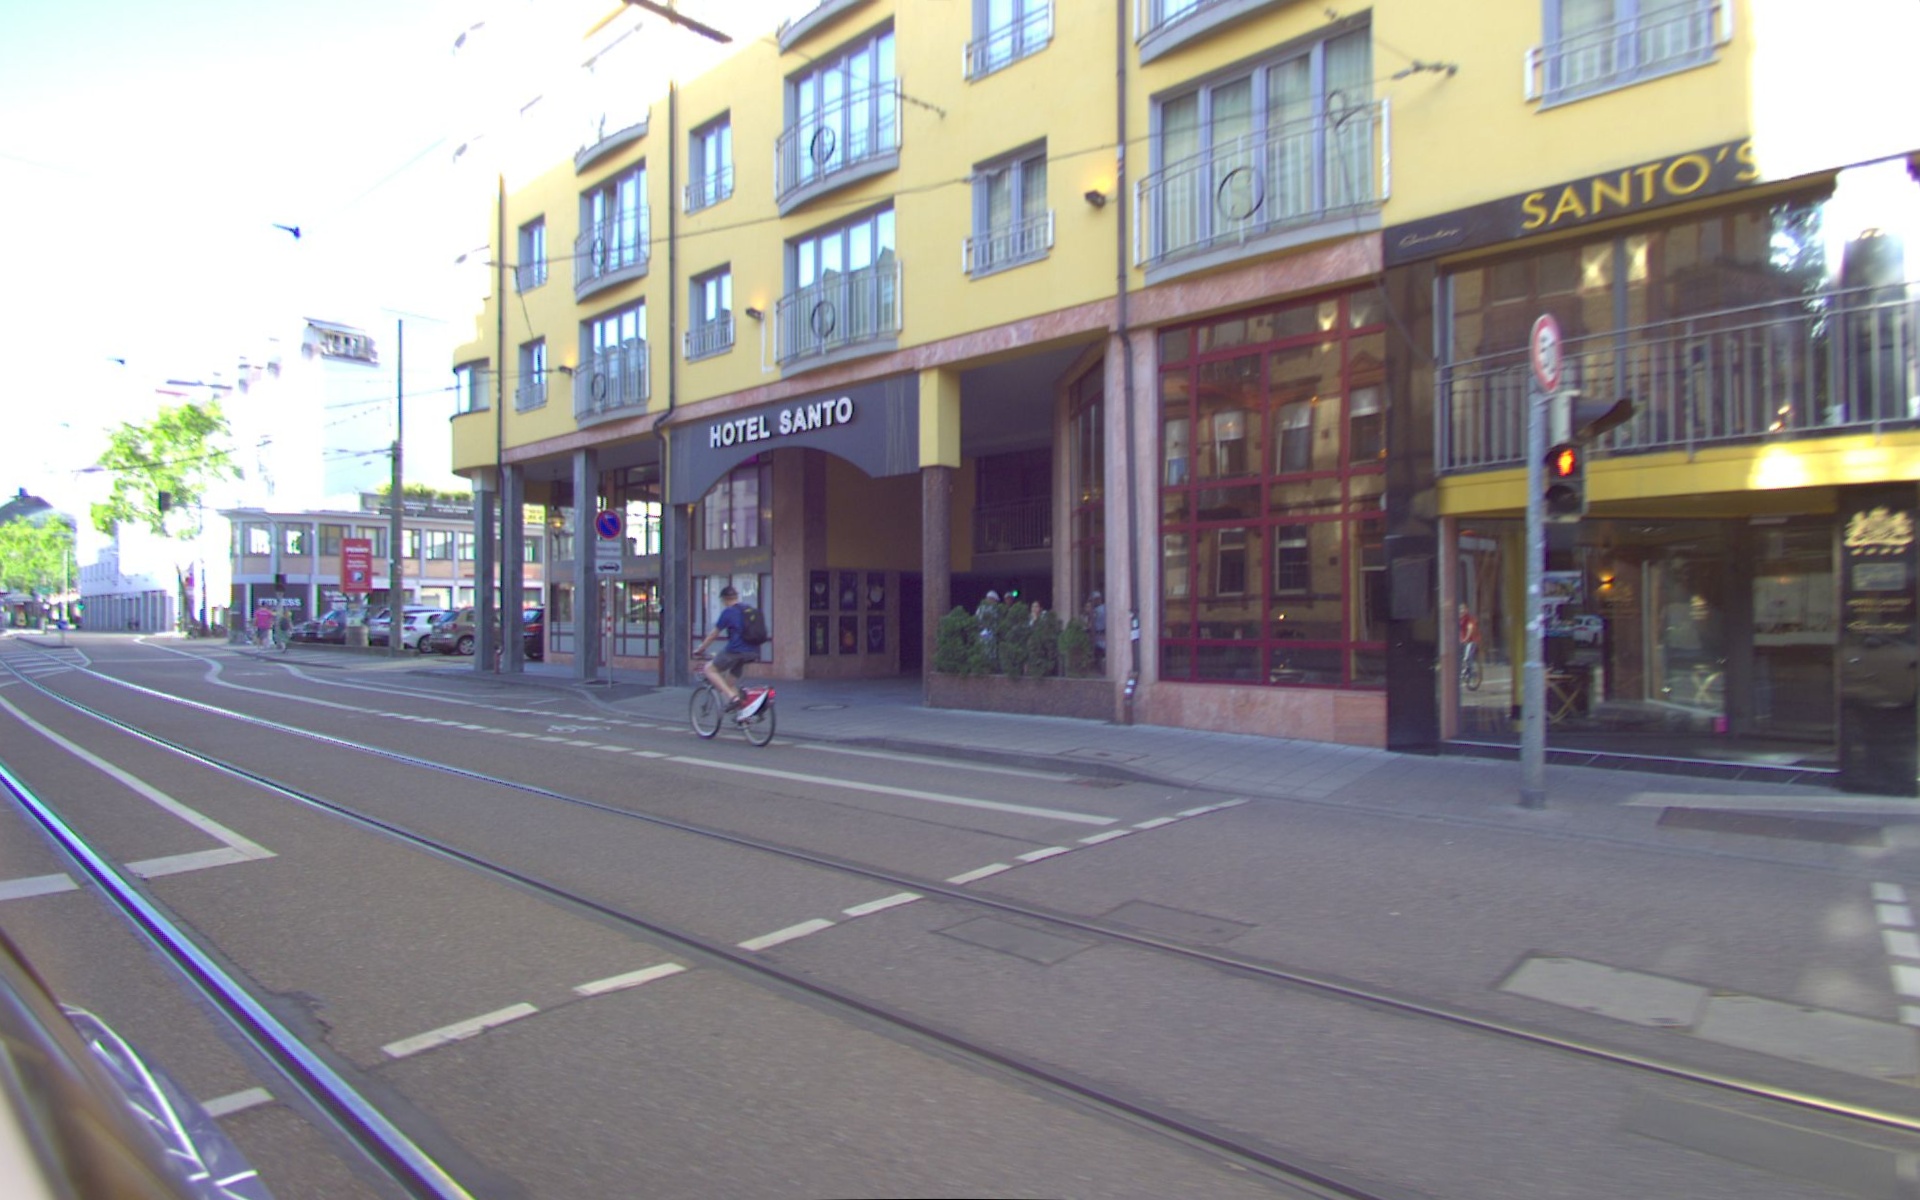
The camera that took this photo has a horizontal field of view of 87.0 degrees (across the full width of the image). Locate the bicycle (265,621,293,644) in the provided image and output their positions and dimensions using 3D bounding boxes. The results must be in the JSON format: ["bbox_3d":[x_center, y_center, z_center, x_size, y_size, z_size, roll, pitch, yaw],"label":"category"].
[{"bbox_3d":[-33.444,1.583,49.701,1.874,1.088,0.459,-1,-2,34],"label":"bicycle"}]

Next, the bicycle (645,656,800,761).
[{"bbox_3d":[-2.865,1.252,12.107,2.060,1.096,0.723,-1,-2,40],"label":"bicycle"}]

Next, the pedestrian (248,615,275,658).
[{"bbox_3d":[-29.268,1.535,42.406,0.778,1.777,0.707,-1,-2,34],"label":"pedestrian"}]

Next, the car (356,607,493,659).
[{"bbox_3d":[-20.123,1.224,38.151,1.784,1.825,4.189,1,0,41],"label":"car"}]

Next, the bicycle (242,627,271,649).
[{"bbox_3d":[-34.337,1.867,49.396,1.874,1.044,0.519,-1,-2,34],"label":"bicycle"}]

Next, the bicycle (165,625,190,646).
[{"bbox_3d":[-56.271,2.533,72.803,0.556,1.129,2.011,-12,11,-16],"label":"bicycle"}]

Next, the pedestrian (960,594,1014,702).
[{"bbox_3d":[0.459,0.796,17.188,0.554,1.783,0.723,1,-2,-44],"label":"pedestrian"}]

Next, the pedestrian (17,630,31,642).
[{"bbox_3d":[-78.200,3.025,84.565,0.747,0.996,0.784,-1,-2,42],"label":"pedestrian"}]

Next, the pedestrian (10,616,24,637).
[{"bbox_3d":[-75.591,2.128,81.104,0.747,1.657,0.784,-1,0,42],"label":"pedestrian"}]

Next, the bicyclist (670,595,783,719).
[{"bbox_3d":[-2.790,0.655,12.052,1.227,1.391,0.717,-1,-1,40],"label":"bicyclist"}]

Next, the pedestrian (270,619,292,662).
[{"bbox_3d":[-25.996,1.536,38.758,0.499,1.629,0.566,-1,-2,40],"label":"pedestrian"}]

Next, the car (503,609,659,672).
[{"bbox_3d":[-11.663,1.208,31.350,1.784,1.826,4.189,-1,-2,41],"label":"car"}]

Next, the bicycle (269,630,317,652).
[{"bbox_3d":[-32.085,1.956,48.699,1.847,1.044,0.427,0,-1,-24],"label":"bicycle"}]

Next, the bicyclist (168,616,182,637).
[{"bbox_3d":[-56.330,1.900,72.642,0.554,1.371,0.721,2,7,-18],"label":"bicyclist"}]

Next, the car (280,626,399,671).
[{"bbox_3d":[-27.699,2.123,45.273,1.784,1.777,4.189,-1,0,41],"label":"car"}]

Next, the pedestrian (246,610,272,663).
[{"bbox_3d":[-26.512,1.378,38.265,0.708,1.961,0.631,-1,-2,40],"label":"pedestrian"}]

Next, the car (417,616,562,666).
[{"bbox_3d":[-16.241,1.388,35.070,1.784,1.560,4.189,1,0,41],"label":"car"}]

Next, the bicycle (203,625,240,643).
[{"bbox_3d":[-46.287,2.104,63.414,1.850,1.085,0.465,1,-1,-41],"label":"bicycle"}]

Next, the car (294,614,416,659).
[{"bbox_3d":[-26.010,1.538,43.593,1.784,1.826,4.189,-1,-2,41],"label":"car"}]

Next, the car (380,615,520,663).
[{"bbox_3d":[-18.412,1.367,36.680,1.784,1.621,4.189,-1,-2,41],"label":"car"}]

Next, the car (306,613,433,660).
[{"bbox_3d":[-24.242,1.476,41.662,1.785,1.826,4.188,-1,-2,42],"label":"car"}]

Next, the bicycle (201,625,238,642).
[{"bbox_3d":[-46.708,2.114,63.833,1.850,1.085,0.465,1,-1,-41],"label":"bicycle"}]

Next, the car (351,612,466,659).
[{"bbox_3d":[-21.968,1.381,40.427,1.784,1.685,3.651,-1,0,41],"label":"car"}]
